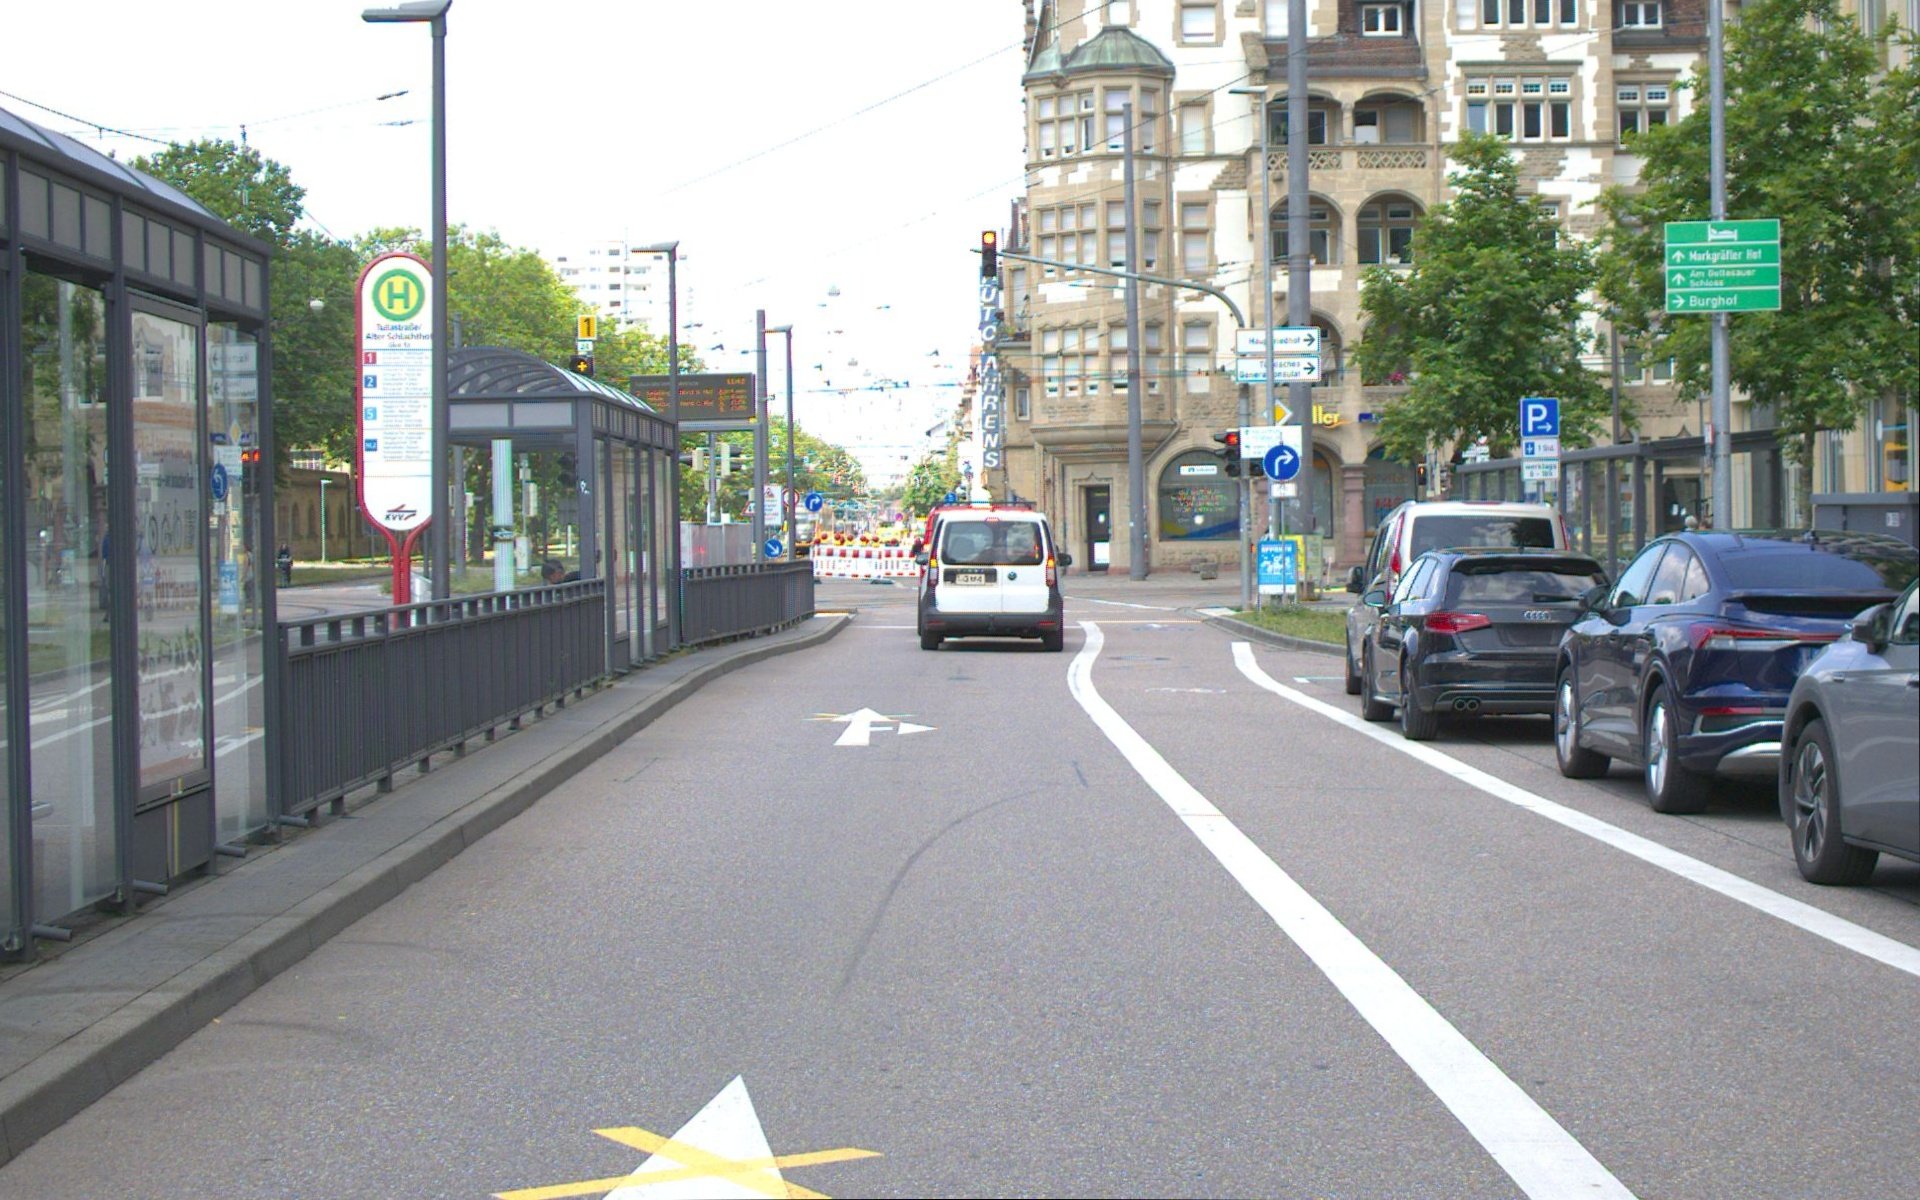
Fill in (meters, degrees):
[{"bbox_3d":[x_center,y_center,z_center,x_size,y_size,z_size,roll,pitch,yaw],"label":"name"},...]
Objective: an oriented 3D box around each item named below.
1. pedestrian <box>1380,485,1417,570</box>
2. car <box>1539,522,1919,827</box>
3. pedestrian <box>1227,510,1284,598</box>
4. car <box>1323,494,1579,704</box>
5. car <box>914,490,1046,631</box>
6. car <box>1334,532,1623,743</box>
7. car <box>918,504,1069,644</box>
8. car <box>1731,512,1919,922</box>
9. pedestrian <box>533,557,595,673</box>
[{"bbox_3d":[8.264,-1.359,64.778,0.534,1.567,0.542,-3,1,-2],"label":"pedestrian"},{"bbox_3d":[4.733,0.350,20.267,1.807,1.586,4.306,1,1,-1],"label":"car"},{"bbox_3d":[5.437,-0.843,63.248,0.805,1.567,0.629,-3,1,-16],"label":"pedestrian"},{"bbox_3d":[4.427,-0.044,31.415,1.709,1.790,3.362,1,1,-2],"label":"car"},{"bbox_3d":[0.255,-0.608,51.247,1.868,2.013,4.000,0,1,-1],"label":"car"},{"bbox_3d":[3.914,0.230,26.519,1.443,1.465,4.093,1,1,-2],"label":"car"},{"bbox_3d":[0.393,-0.369,45.105,1.868,1.740,4.000,0,1,-1],"label":"car"},{"bbox_3d":[4.622,0.459,13.719,1.807,1.586,4.841,1,1,-2],"label":"car"},{"bbox_3d":[-3.983,0.144,34.615,0.513,1.136,0.501,-3,1,0],"label":"pedestrian"}]
